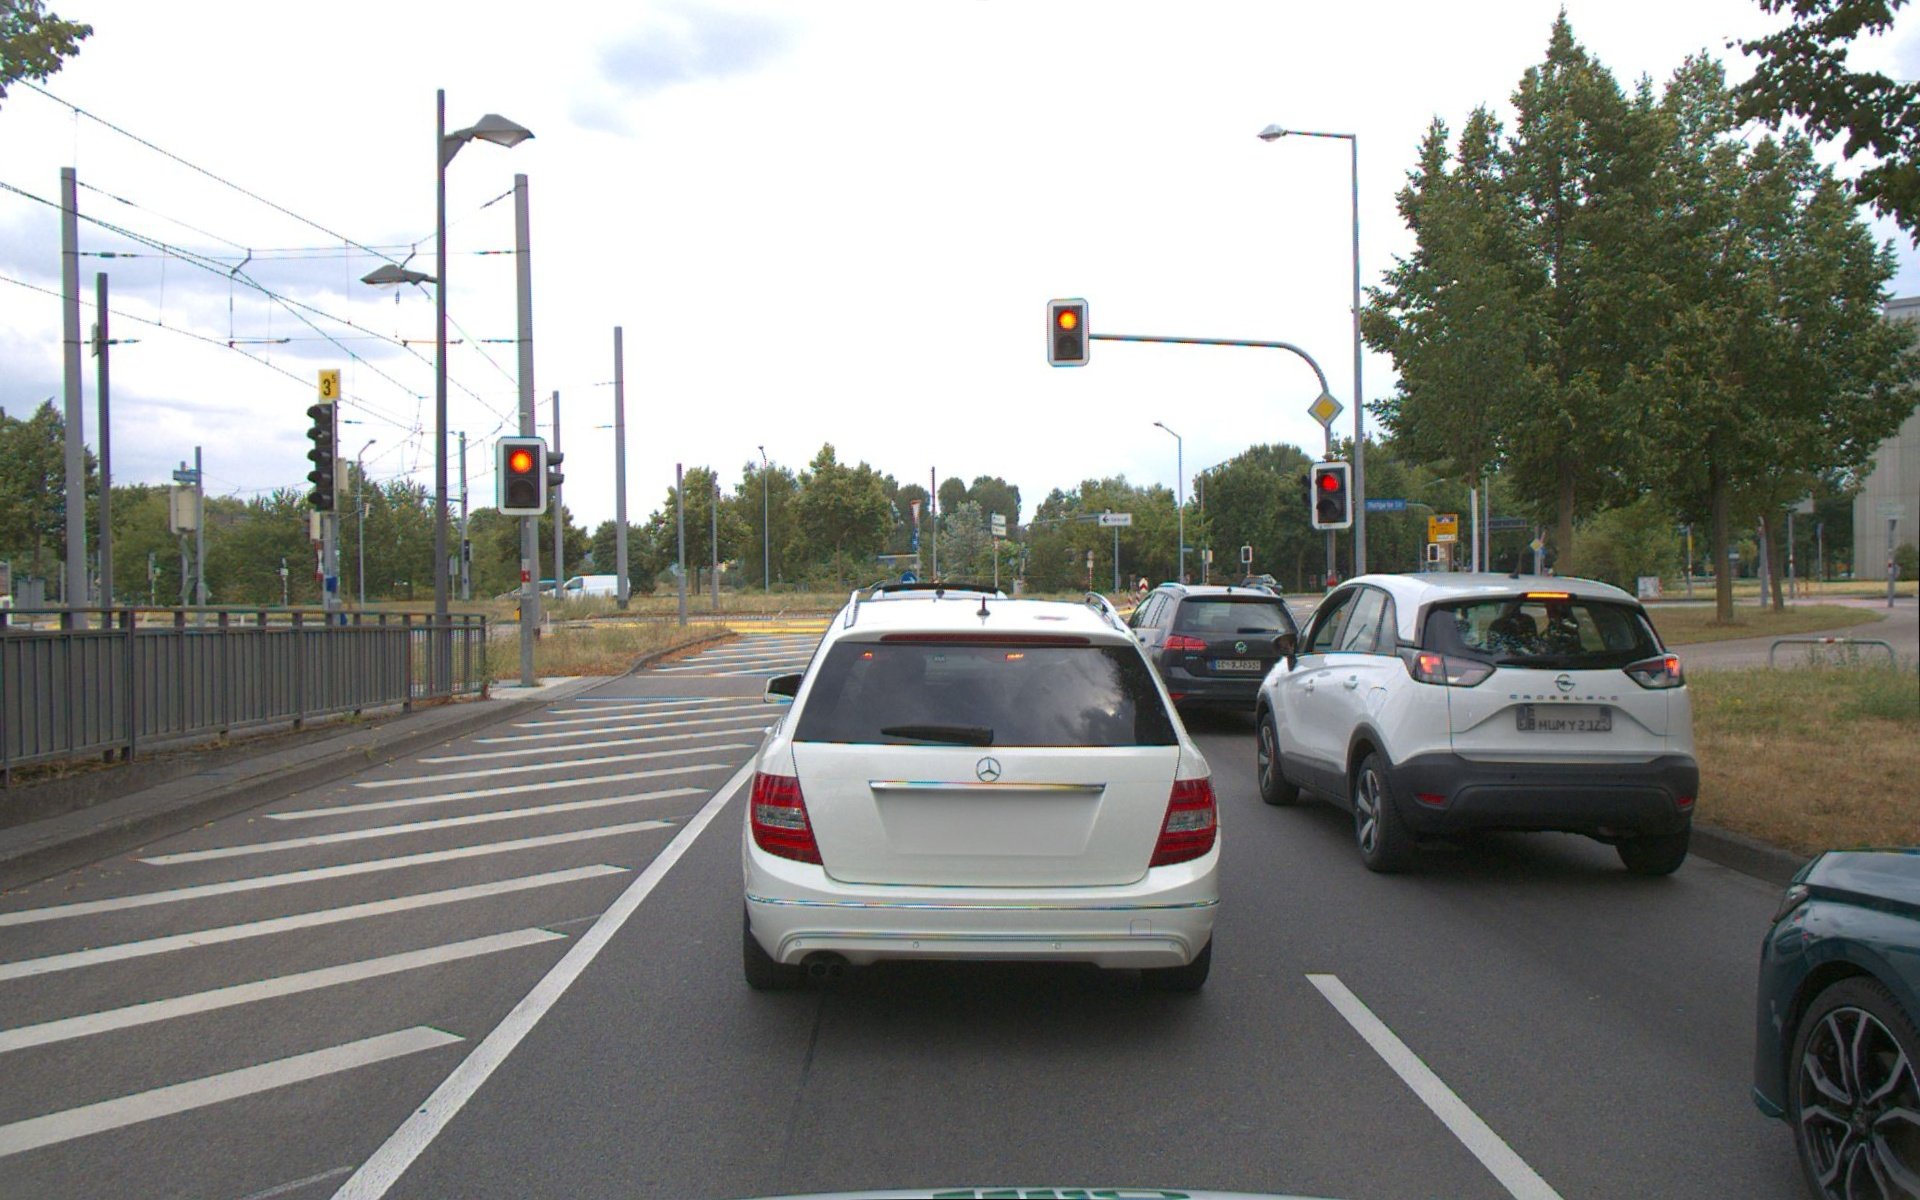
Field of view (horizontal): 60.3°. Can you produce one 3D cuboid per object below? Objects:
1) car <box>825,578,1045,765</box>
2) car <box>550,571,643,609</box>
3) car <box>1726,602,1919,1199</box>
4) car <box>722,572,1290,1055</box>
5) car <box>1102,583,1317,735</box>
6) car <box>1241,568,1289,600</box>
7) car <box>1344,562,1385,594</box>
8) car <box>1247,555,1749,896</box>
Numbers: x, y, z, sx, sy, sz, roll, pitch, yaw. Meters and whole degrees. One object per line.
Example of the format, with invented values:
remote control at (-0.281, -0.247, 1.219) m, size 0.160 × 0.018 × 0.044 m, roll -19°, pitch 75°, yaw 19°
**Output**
car at (-0.285, 0.547, 15.110) m, size 1.738 × 1.474 × 3.908 m, roll 1°, pitch 1°, yaw -3°
car at (-20.800, -0.585, 94.739) m, size 4.918 × 2.049 × 1.985 m, roll -1°, pitch 1°, yaw -24°
car at (3.044, 0.769, 2.275) m, size 1.752 × 1.457 × 4.307 m, roll 0°, pitch 1°, yaw -4°
car at (0.062, 0.639, 7.043) m, size 1.738 × 1.474 × 3.908 m, roll 1°, pitch 1°, yaw -3°
car at (2.618, 0.562, 18.145) m, size 1.592 × 1.474 × 3.908 m, roll 1°, pitch 1°, yaw -3°
car at (18.097, -0.926, 97.930) m, size 1.953 × 1.822 × 3.999 m, roll 2°, pitch 0°, yaw 23°
car at (21.651, -1.203, 88.657) m, size 1.745 × 1.664 × 4.406 m, roll -1°, pitch 1°, yaw 9°
car at (2.997, 0.596, 10.117) m, size 1.751 × 1.653 × 3.910 m, roll -1°, pitch 1°, yaw -1°
